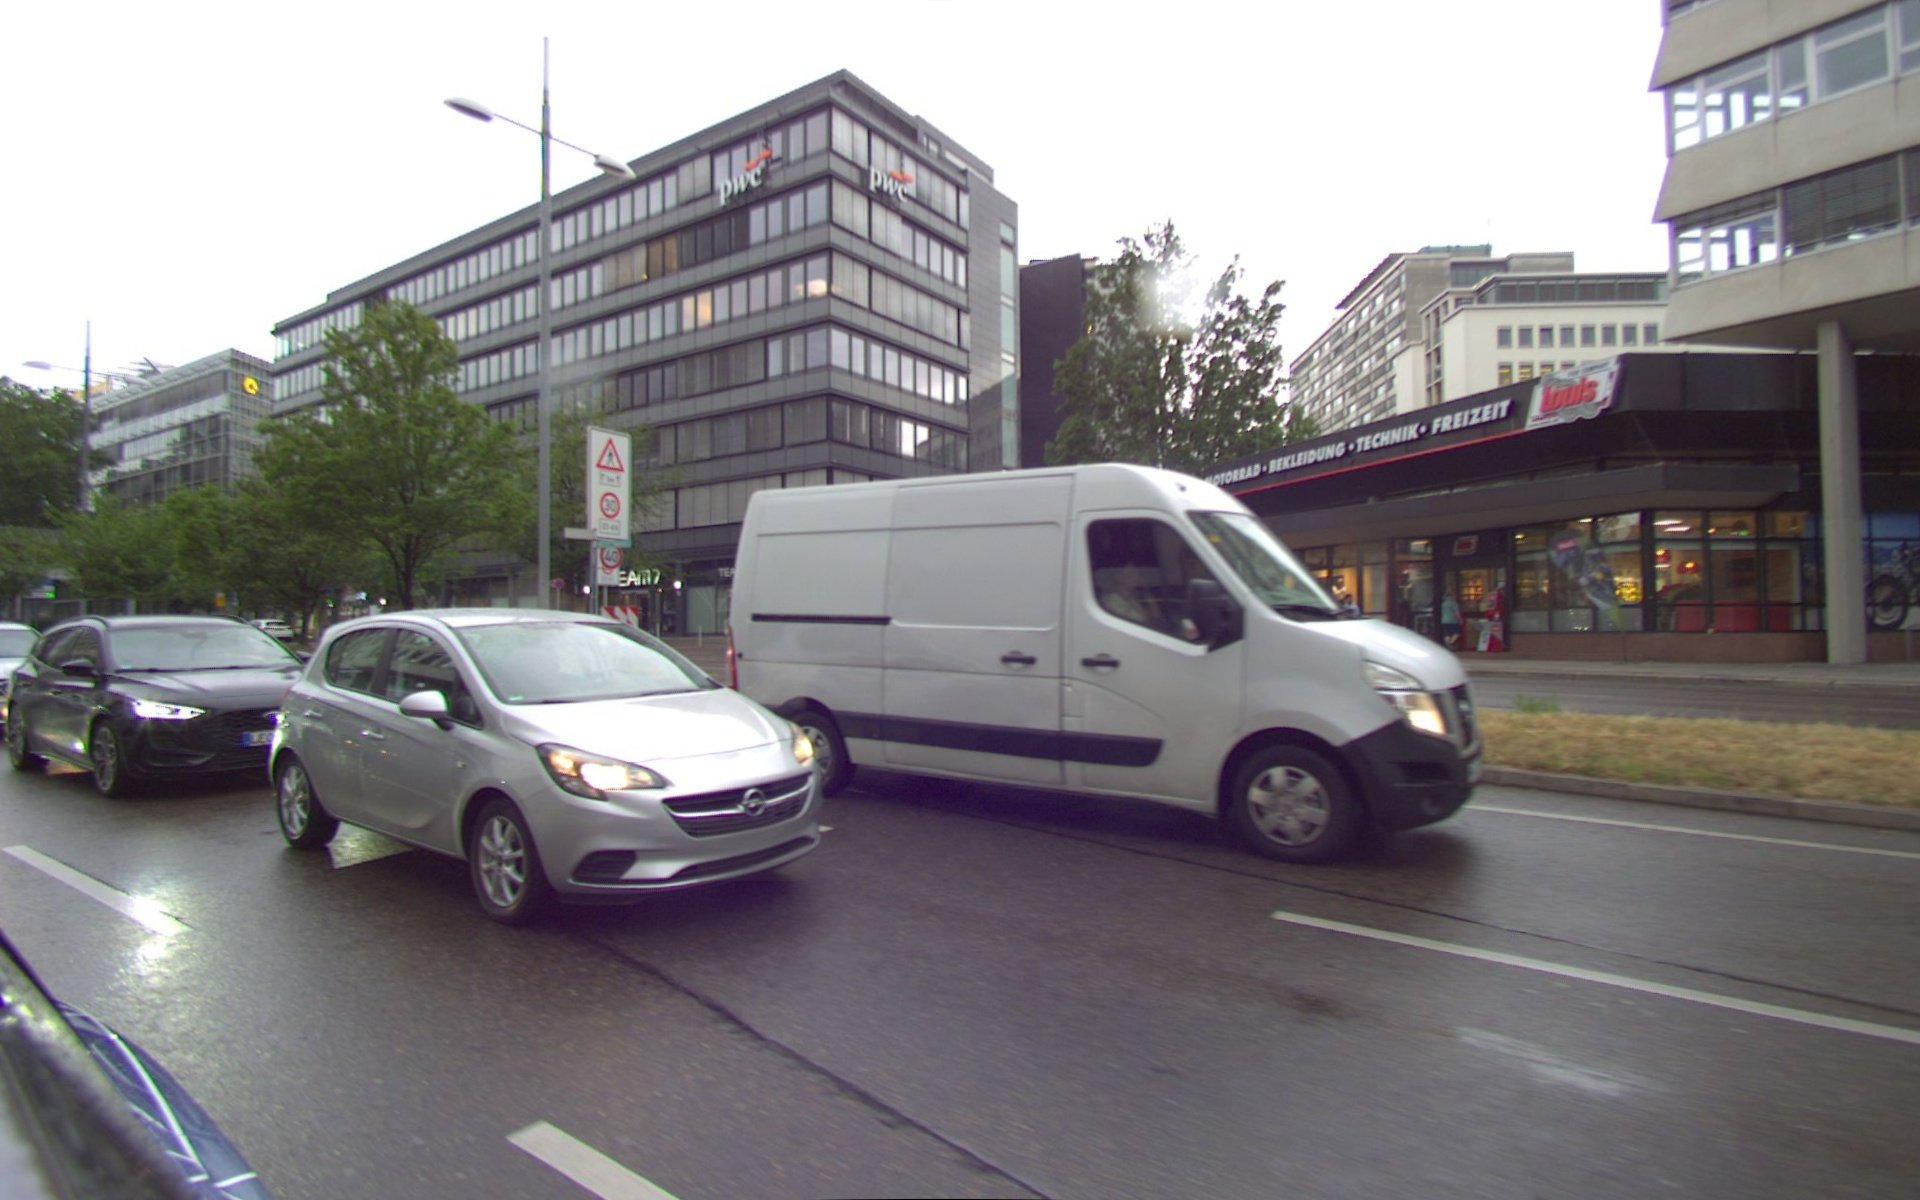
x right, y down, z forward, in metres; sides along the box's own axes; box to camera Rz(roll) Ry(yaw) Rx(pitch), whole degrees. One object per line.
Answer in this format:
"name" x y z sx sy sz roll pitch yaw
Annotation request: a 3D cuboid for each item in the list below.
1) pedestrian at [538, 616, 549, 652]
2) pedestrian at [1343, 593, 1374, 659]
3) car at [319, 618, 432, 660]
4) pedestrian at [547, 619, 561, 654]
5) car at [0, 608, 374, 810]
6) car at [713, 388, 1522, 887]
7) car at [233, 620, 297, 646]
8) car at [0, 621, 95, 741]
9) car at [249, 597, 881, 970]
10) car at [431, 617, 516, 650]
"pedestrian" -23.661 1.904 57.509 0.296 2.029 0.535 -1 -1 33
"pedestrian" 10.903 0.703 27.703 0.528 1.784 0.551 0 -1 -32
"car" -20.686 1.356 35.777 3.984 1.383 1.734 -1 -1 30
"pedestrian" -23.937 2.140 59.677 0.460 2.029 0.569 -1 -1 34
"car" -7.279 0.840 9.272 4.085 1.446 1.756 -1 -1 35
"car" 0.853 0.228 7.319 5.465 2.459 1.930 -1 -1 34
"car" -42.364 2.007 61.667 3.990 1.518 1.977 -1 -1 35
"car" -12.893 0.997 13.124 4.088 1.391 1.755 -1 -1 38
"car" -2.438 0.751 5.803 3.869 1.446 1.632 -1 -1 38
"car" -23.387 1.611 48.650 3.990 1.518 1.977 -1 -1 35
